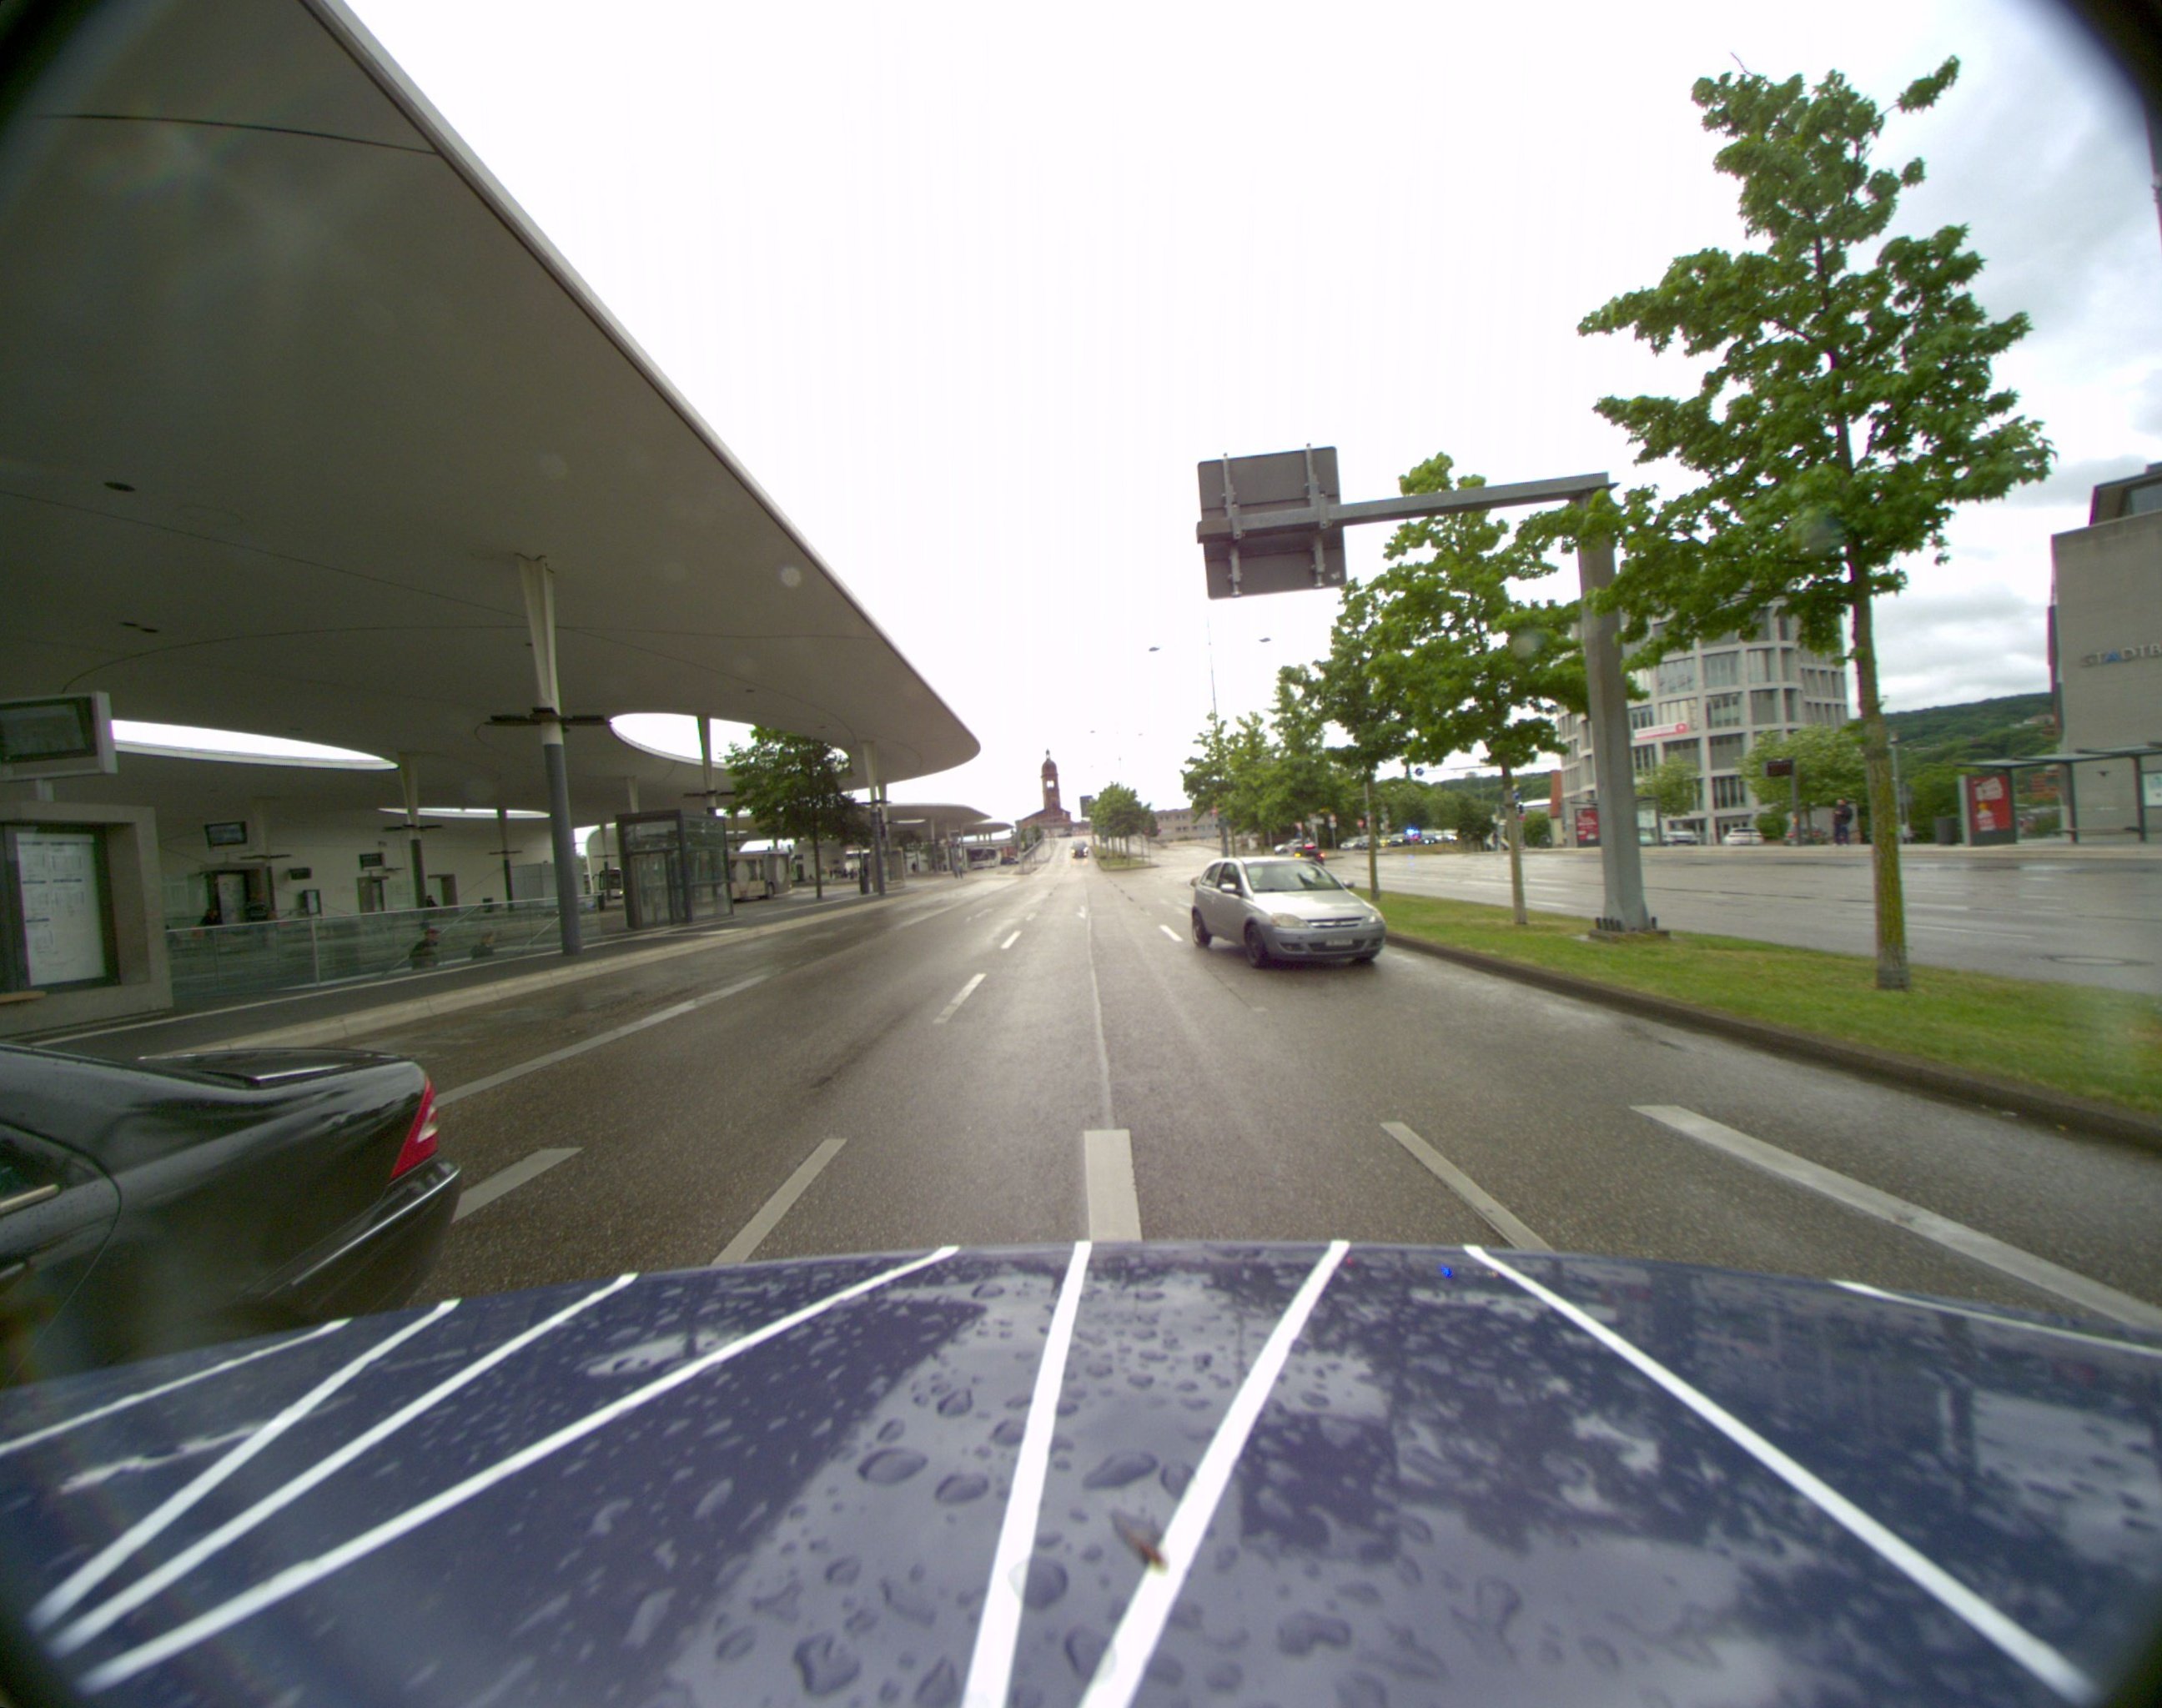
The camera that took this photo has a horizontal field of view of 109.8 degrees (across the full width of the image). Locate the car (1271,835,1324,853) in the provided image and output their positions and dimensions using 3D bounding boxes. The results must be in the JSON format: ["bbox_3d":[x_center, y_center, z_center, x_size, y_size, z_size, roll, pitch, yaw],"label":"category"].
[{"bbox_3d":[22.925,-1.042,80.668,4.918,1.702,2.193,-3,1,-15],"label":"car"}]

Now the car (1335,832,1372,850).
[{"bbox_3d":[30.680,-1.481,85.452,4.006,1.783,1.995,-3,1,-36],"label":"car"}]

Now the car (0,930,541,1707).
[{"bbox_3d":[-2.846,1.157,0.363,1.750,1.472,4.434,-7,2,1],"label":"car"}]

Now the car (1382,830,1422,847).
[{"bbox_3d":[35.787,-1.730,84.738,4.925,1.702,2.190,-3,1,-43],"label":"car"}]

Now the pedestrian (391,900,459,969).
[{"bbox_3d":[-12.917,1.572,14.978,0.693,1.244,0.669,-3,1,1],"label":"pedestrian"}]

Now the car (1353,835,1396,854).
[{"bbox_3d":[30.508,-1.012,78.850,4.925,1.702,2.190,-3,1,-43],"label":"car"}]

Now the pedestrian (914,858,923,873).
[{"bbox_3d":[-18.444,1.283,86.244,0.723,1.621,0.753,-3,1,0],"label":"pedestrian"}]

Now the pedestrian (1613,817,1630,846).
[{"bbox_3d":[30.058,-1.242,42.255,0.520,1.625,0.536,-2,1,1],"label":"pedestrian"}]

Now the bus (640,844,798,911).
[{"bbox_3d":[-19.807,1.095,42.966,3.003,3.088,12.353,-3,0,-1],"label":"bus"}]

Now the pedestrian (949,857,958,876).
[{"bbox_3d":[-10.753,1.057,63.918,0.576,1.614,0.588,-3,1,1],"label":"pedestrian"}]

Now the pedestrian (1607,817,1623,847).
[{"bbox_3d":[29.509,-1.215,42.021,0.504,1.625,0.502,-2,1,1],"label":"pedestrian"}]

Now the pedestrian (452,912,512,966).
[{"bbox_3d":[-11.832,1.665,15.023,0.622,0.957,0.638,-3,1,1],"label":"pedestrian"}]

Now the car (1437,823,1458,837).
[{"bbox_3d":[49.967,-3.316,103.522,2.191,1.702,4.925,-3,1,31],"label":"car"}]

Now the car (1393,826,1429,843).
[{"bbox_3d":[42.942,-2.509,98.959,2.309,2.002,5.033,-3,0,-3],"label":"car"}]

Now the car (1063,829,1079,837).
[{"bbox_3d":[-2.551,-5.180,188.965,2.003,1.765,3.990,-3,1,-34],"label":"car"}]

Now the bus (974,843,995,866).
[{"bbox_3d":[-14.295,0.064,113.277,2.675,3.111,9.712,-3,0,-5],"label":"bus"}]

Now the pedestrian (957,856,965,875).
[{"bbox_3d":[-10.095,0.979,63.969,0.557,1.614,0.552,-3,1,1],"label":"pedestrian"}]

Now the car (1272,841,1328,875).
[{"bbox_3d":[11.661,0.189,40.820,1.826,1.630,4.600,-3,0,3],"label":"car"}]

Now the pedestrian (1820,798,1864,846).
[{"bbox_3d":[29.092,-1.203,29.065,0.787,1.750,0.972,-3,1,-28],"label":"pedestrian"}]

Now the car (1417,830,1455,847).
[{"bbox_3d":[41.377,-1.826,88.507,4.925,1.702,2.190,-3,1,-43],"label":"car"}]

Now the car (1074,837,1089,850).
[{"bbox_3d":[0.084,-1.375,101.416,1.704,1.656,3.998,-3,1,-2],"label":"car"}]

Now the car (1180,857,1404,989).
[{"bbox_3d":[2.754,0.811,10.809,1.628,1.450,3.733,-3,0,-9],"label":"car"}]

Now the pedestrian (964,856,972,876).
[{"bbox_3d":[-9.499,1.032,63.815,0.557,1.614,0.552,-3,1,1],"label":"pedestrian"}]

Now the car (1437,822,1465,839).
[{"bbox_3d":[46.392,-2.955,95.281,1.995,2.002,4.007,-2,1,44],"label":"car"}]
